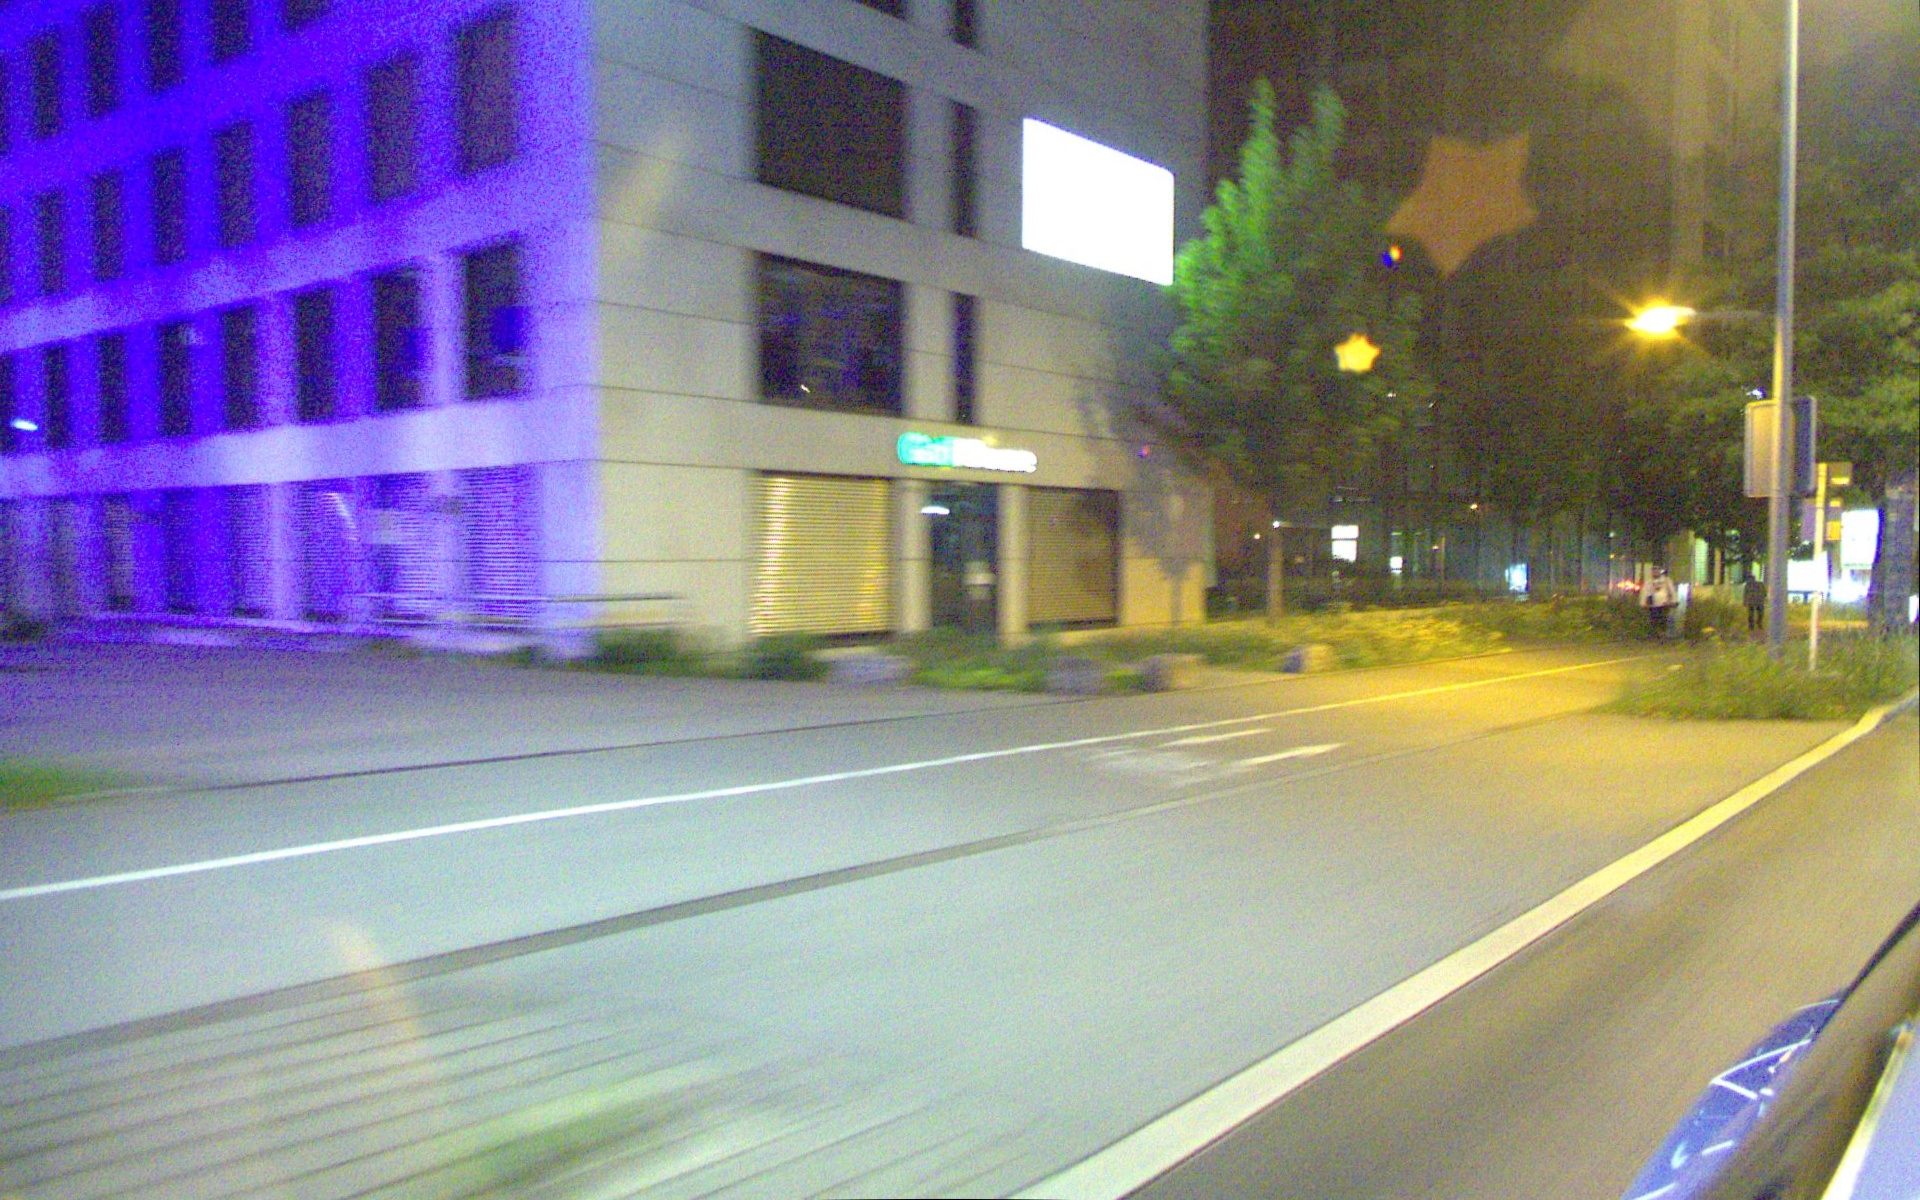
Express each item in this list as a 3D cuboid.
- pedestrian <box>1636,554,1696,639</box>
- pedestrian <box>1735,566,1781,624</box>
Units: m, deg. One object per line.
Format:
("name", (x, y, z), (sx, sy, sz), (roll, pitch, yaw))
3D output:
("pedestrian", (16.473, -0.094, 23.623), (0.777, 1.936, 0.808), (0, 3, -31))
("pedestrian", (24.718, -0.167, 31.336), (0.940, 1.727, 0.855), (-1, 4, -40))
